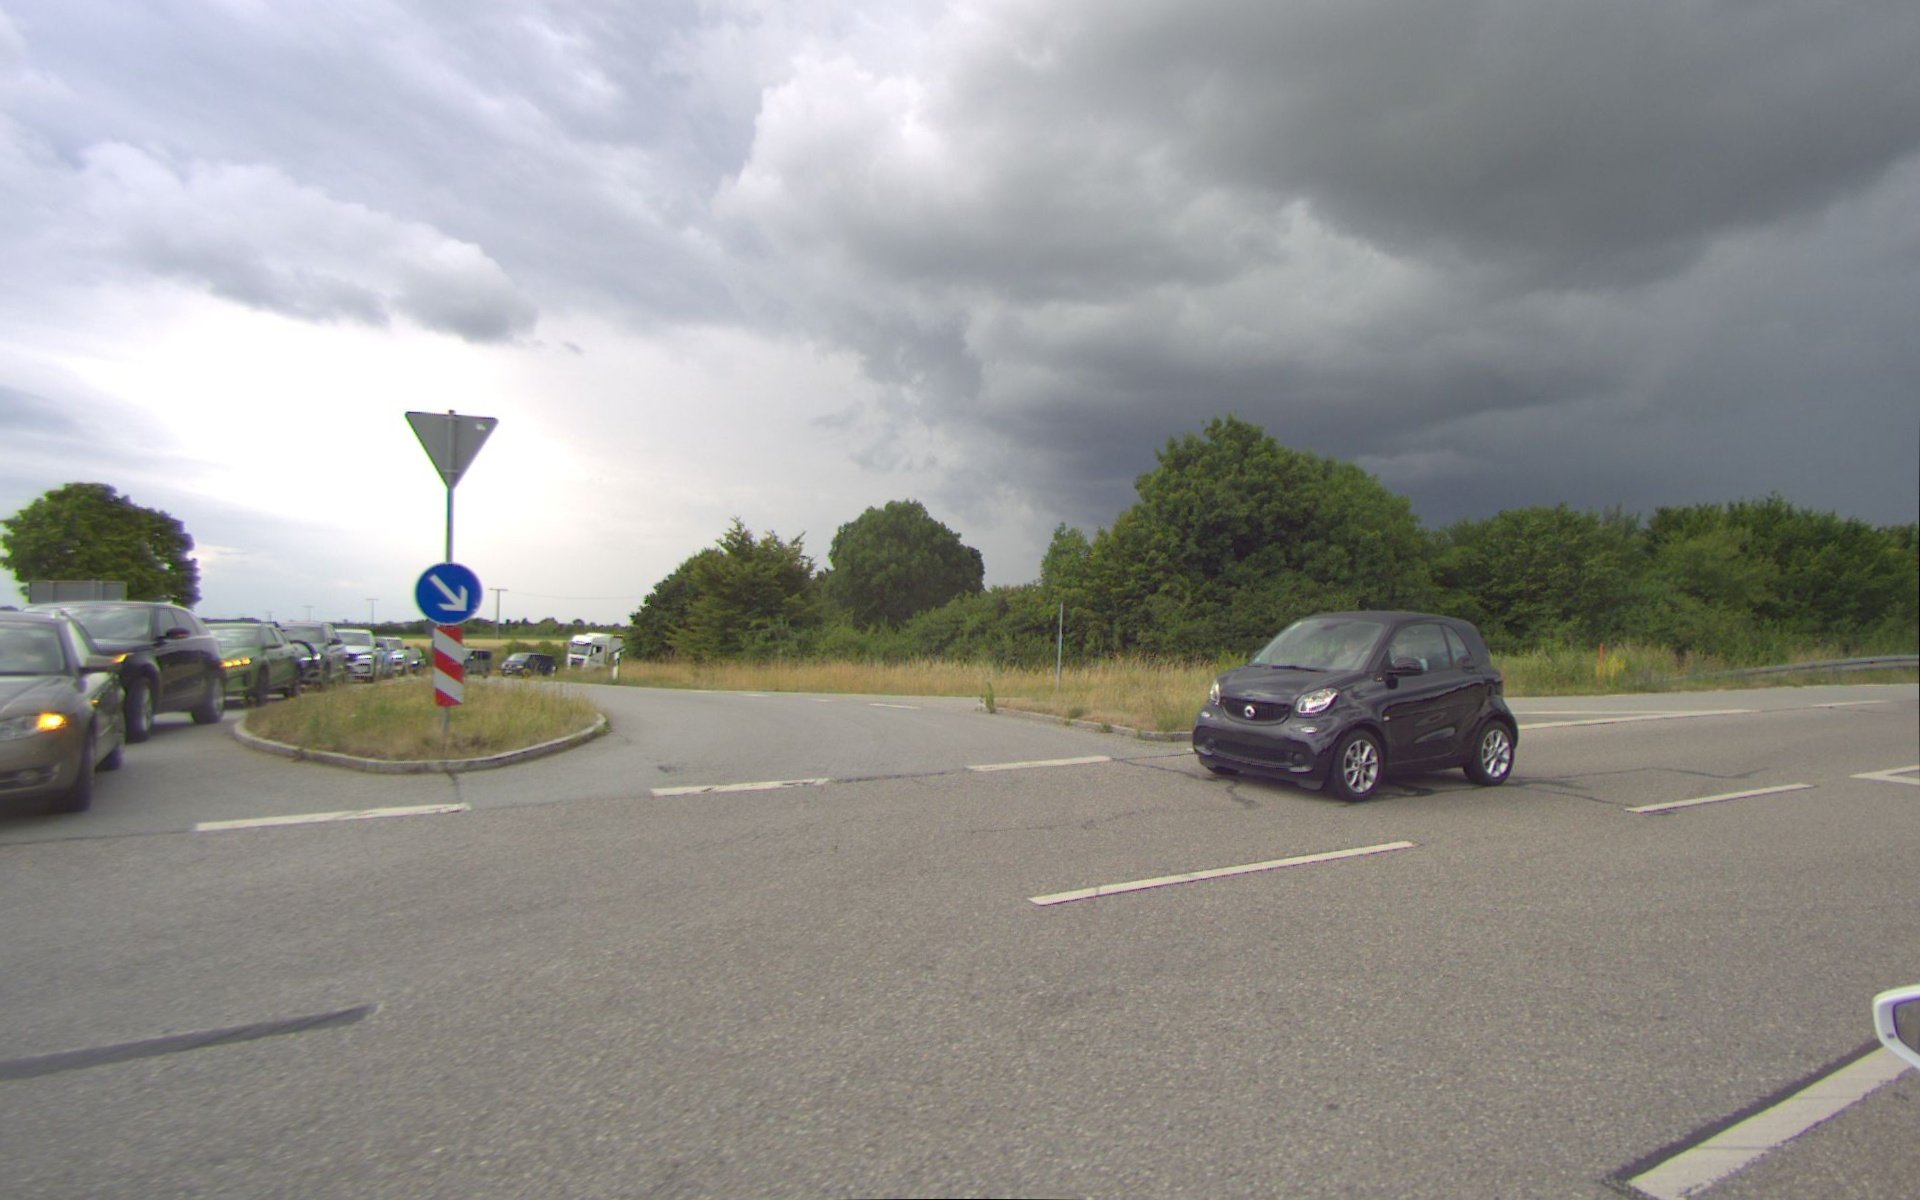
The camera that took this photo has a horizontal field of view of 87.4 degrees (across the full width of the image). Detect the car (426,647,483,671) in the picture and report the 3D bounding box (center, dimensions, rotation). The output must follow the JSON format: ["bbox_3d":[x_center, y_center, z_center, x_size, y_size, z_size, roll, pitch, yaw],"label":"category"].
[{"bbox_3d":[-34.232,3.966,68.173,1.875,1.502,4.503,1,-2,-5],"label":"car"}]

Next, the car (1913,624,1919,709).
[{"bbox_3d":[19.782,1.260,18.815,4.150,1.551,1.733,1,0,-31],"label":"car"}]

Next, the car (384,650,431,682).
[{"bbox_3d":[-29.313,3.478,53.361,1.886,1.502,4.477,1,-2,-26],"label":"car"}]

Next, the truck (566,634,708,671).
[{"bbox_3d":[-30.075,4.865,95.095,2.747,3.174,16.316,0,-2,23],"label":"truck"}]

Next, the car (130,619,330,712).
[{"bbox_3d":[-13.808,1.165,19.385,1.884,1.541,5.274,1,-2,-23],"label":"car"}]

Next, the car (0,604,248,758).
[{"bbox_3d":[-10.521,0.875,12.303,1.884,1.552,4.730,1,-2,-23],"label":"car"}]

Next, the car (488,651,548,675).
[{"bbox_3d":[-34.905,4.969,79.478,1.873,1.703,4.508,0,-2,16],"label":"car"}]

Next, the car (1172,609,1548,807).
[{"bbox_3d":[3.697,0.875,9.242,3.131,1.503,1.653,2,-1,-30],"label":"car"}]

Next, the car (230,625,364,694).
[{"bbox_3d":[-16.214,1.405,24.824,1.884,1.537,4.614,1,-2,-23],"label":"car"}]

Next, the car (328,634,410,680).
[{"bbox_3d":[-21.033,1.978,35.926,1.884,1.502,4.482,1,-2,-23],"label":"car"}]

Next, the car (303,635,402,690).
[{"bbox_3d":[-18.368,1.840,30.585,1.884,1.502,4.482,1,-2,-23],"label":"car"}]

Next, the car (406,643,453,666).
[{"bbox_3d":[-41.432,4.235,78.548,1.877,1.703,4.499,1,-2,-10],"label":"car"}]

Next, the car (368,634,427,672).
[{"bbox_3d":[-23.869,2.223,42.764,1.886,1.502,4.477,1,-2,-26],"label":"car"}]

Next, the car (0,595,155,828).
[{"bbox_3d":[-7.554,0.720,7.745,1.893,1.443,4.419,2,-2,-37],"label":"car"}]
